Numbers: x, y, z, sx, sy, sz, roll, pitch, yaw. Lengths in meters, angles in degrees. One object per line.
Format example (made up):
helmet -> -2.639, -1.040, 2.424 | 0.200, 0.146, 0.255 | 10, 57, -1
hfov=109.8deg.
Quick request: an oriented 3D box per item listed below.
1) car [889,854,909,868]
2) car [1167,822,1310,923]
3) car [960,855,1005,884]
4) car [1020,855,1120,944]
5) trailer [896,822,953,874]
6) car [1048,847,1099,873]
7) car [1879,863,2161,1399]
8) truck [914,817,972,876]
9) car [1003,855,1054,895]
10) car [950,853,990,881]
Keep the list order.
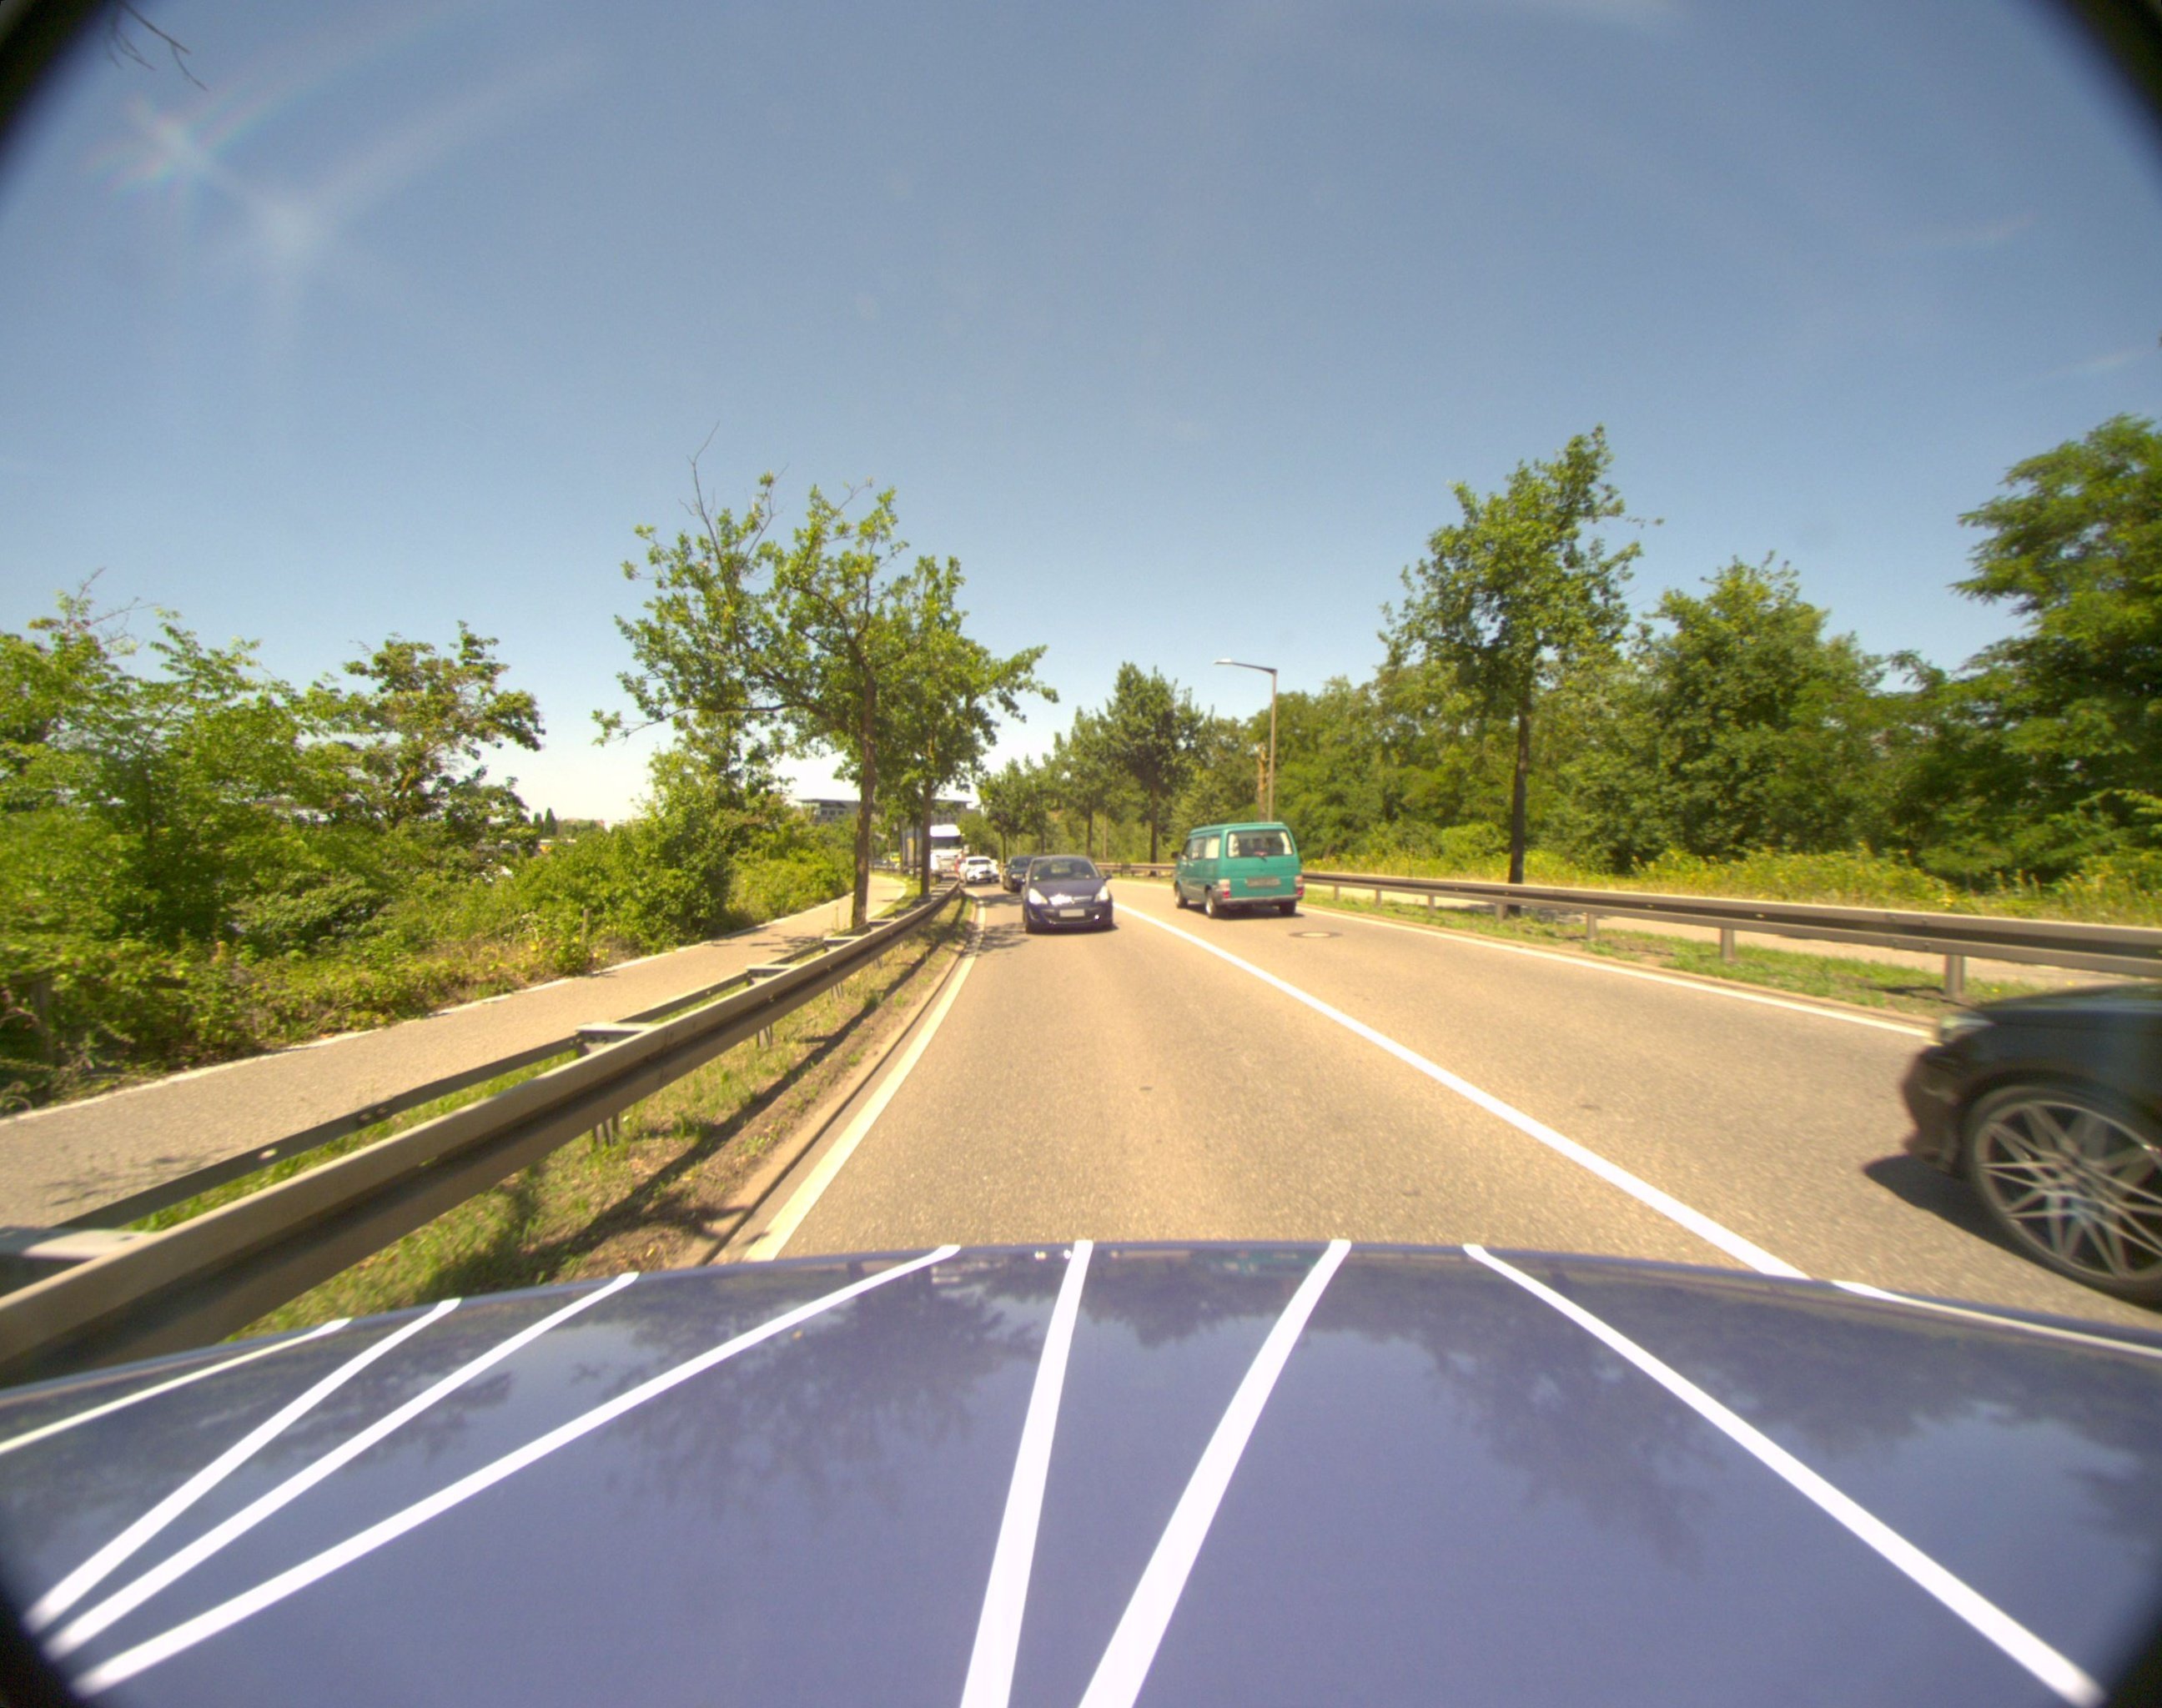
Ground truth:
car -> -22.094, 0.871, 92.174 | 1.978, 1.567, 3.993 | -2, 1, -19
car -> 3.396, 0.347, 17.418 | 1.835, 1.927, 4.773 | -2, 1, -6
car -> -5.385, 0.799, 41.172 | 1.819, 1.420, 3.710 | -2, 1, -16
car -> -0.361, 0.806, 15.606 | 1.699, 1.459, 4.381 | -2, 1, -5
trailer -> -14.554, -0.491, 69.682 | 2.885, 4.189, 13.984 | -2, 1, -20
car -> -0.530, 0.376, 46.658 | 1.751, 1.439, 4.509 | -2, 1, -20
car -> 3.923, 0.790, 0.501 | 1.850, 1.459, 4.740 | -2, 1, 1
truck -> -11.140, -0.568, 60.474 | 2.862, 4.244, 8.800 | -3, 1, -20
car -> -2.133, 0.781, 30.038 | 1.570, 1.408, 4.119 | -2, 1, -9
car -> -7.570, 0.867, 51.534 | 1.903, 1.645, 4.250 | -3, 2, -19
